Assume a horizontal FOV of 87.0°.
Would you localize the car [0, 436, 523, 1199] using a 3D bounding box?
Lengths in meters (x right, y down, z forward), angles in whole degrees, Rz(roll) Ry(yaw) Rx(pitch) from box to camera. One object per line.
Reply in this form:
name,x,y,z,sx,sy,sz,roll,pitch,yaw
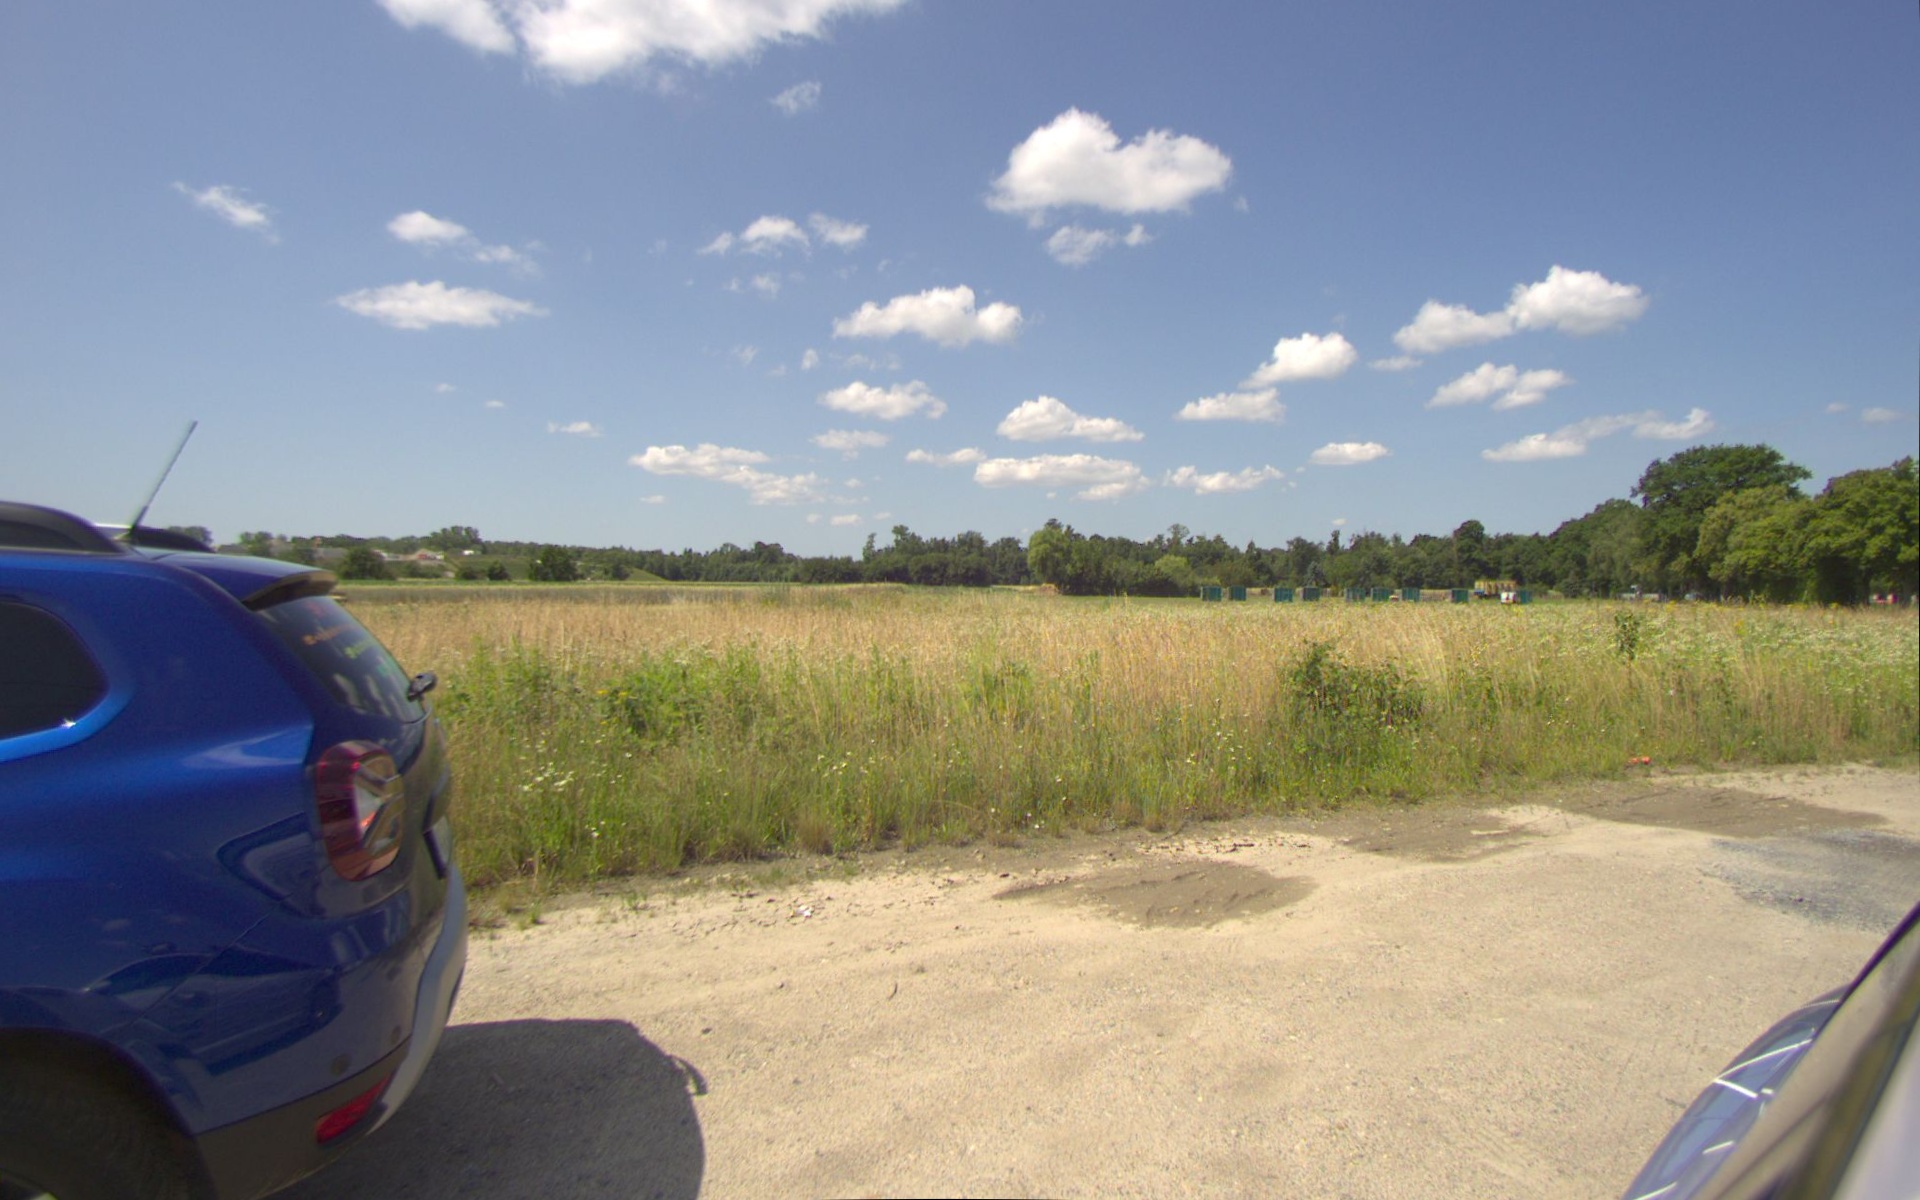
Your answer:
car,-3.209,0.600,1.818,4.367,1.682,1.867,-1,0,-26
